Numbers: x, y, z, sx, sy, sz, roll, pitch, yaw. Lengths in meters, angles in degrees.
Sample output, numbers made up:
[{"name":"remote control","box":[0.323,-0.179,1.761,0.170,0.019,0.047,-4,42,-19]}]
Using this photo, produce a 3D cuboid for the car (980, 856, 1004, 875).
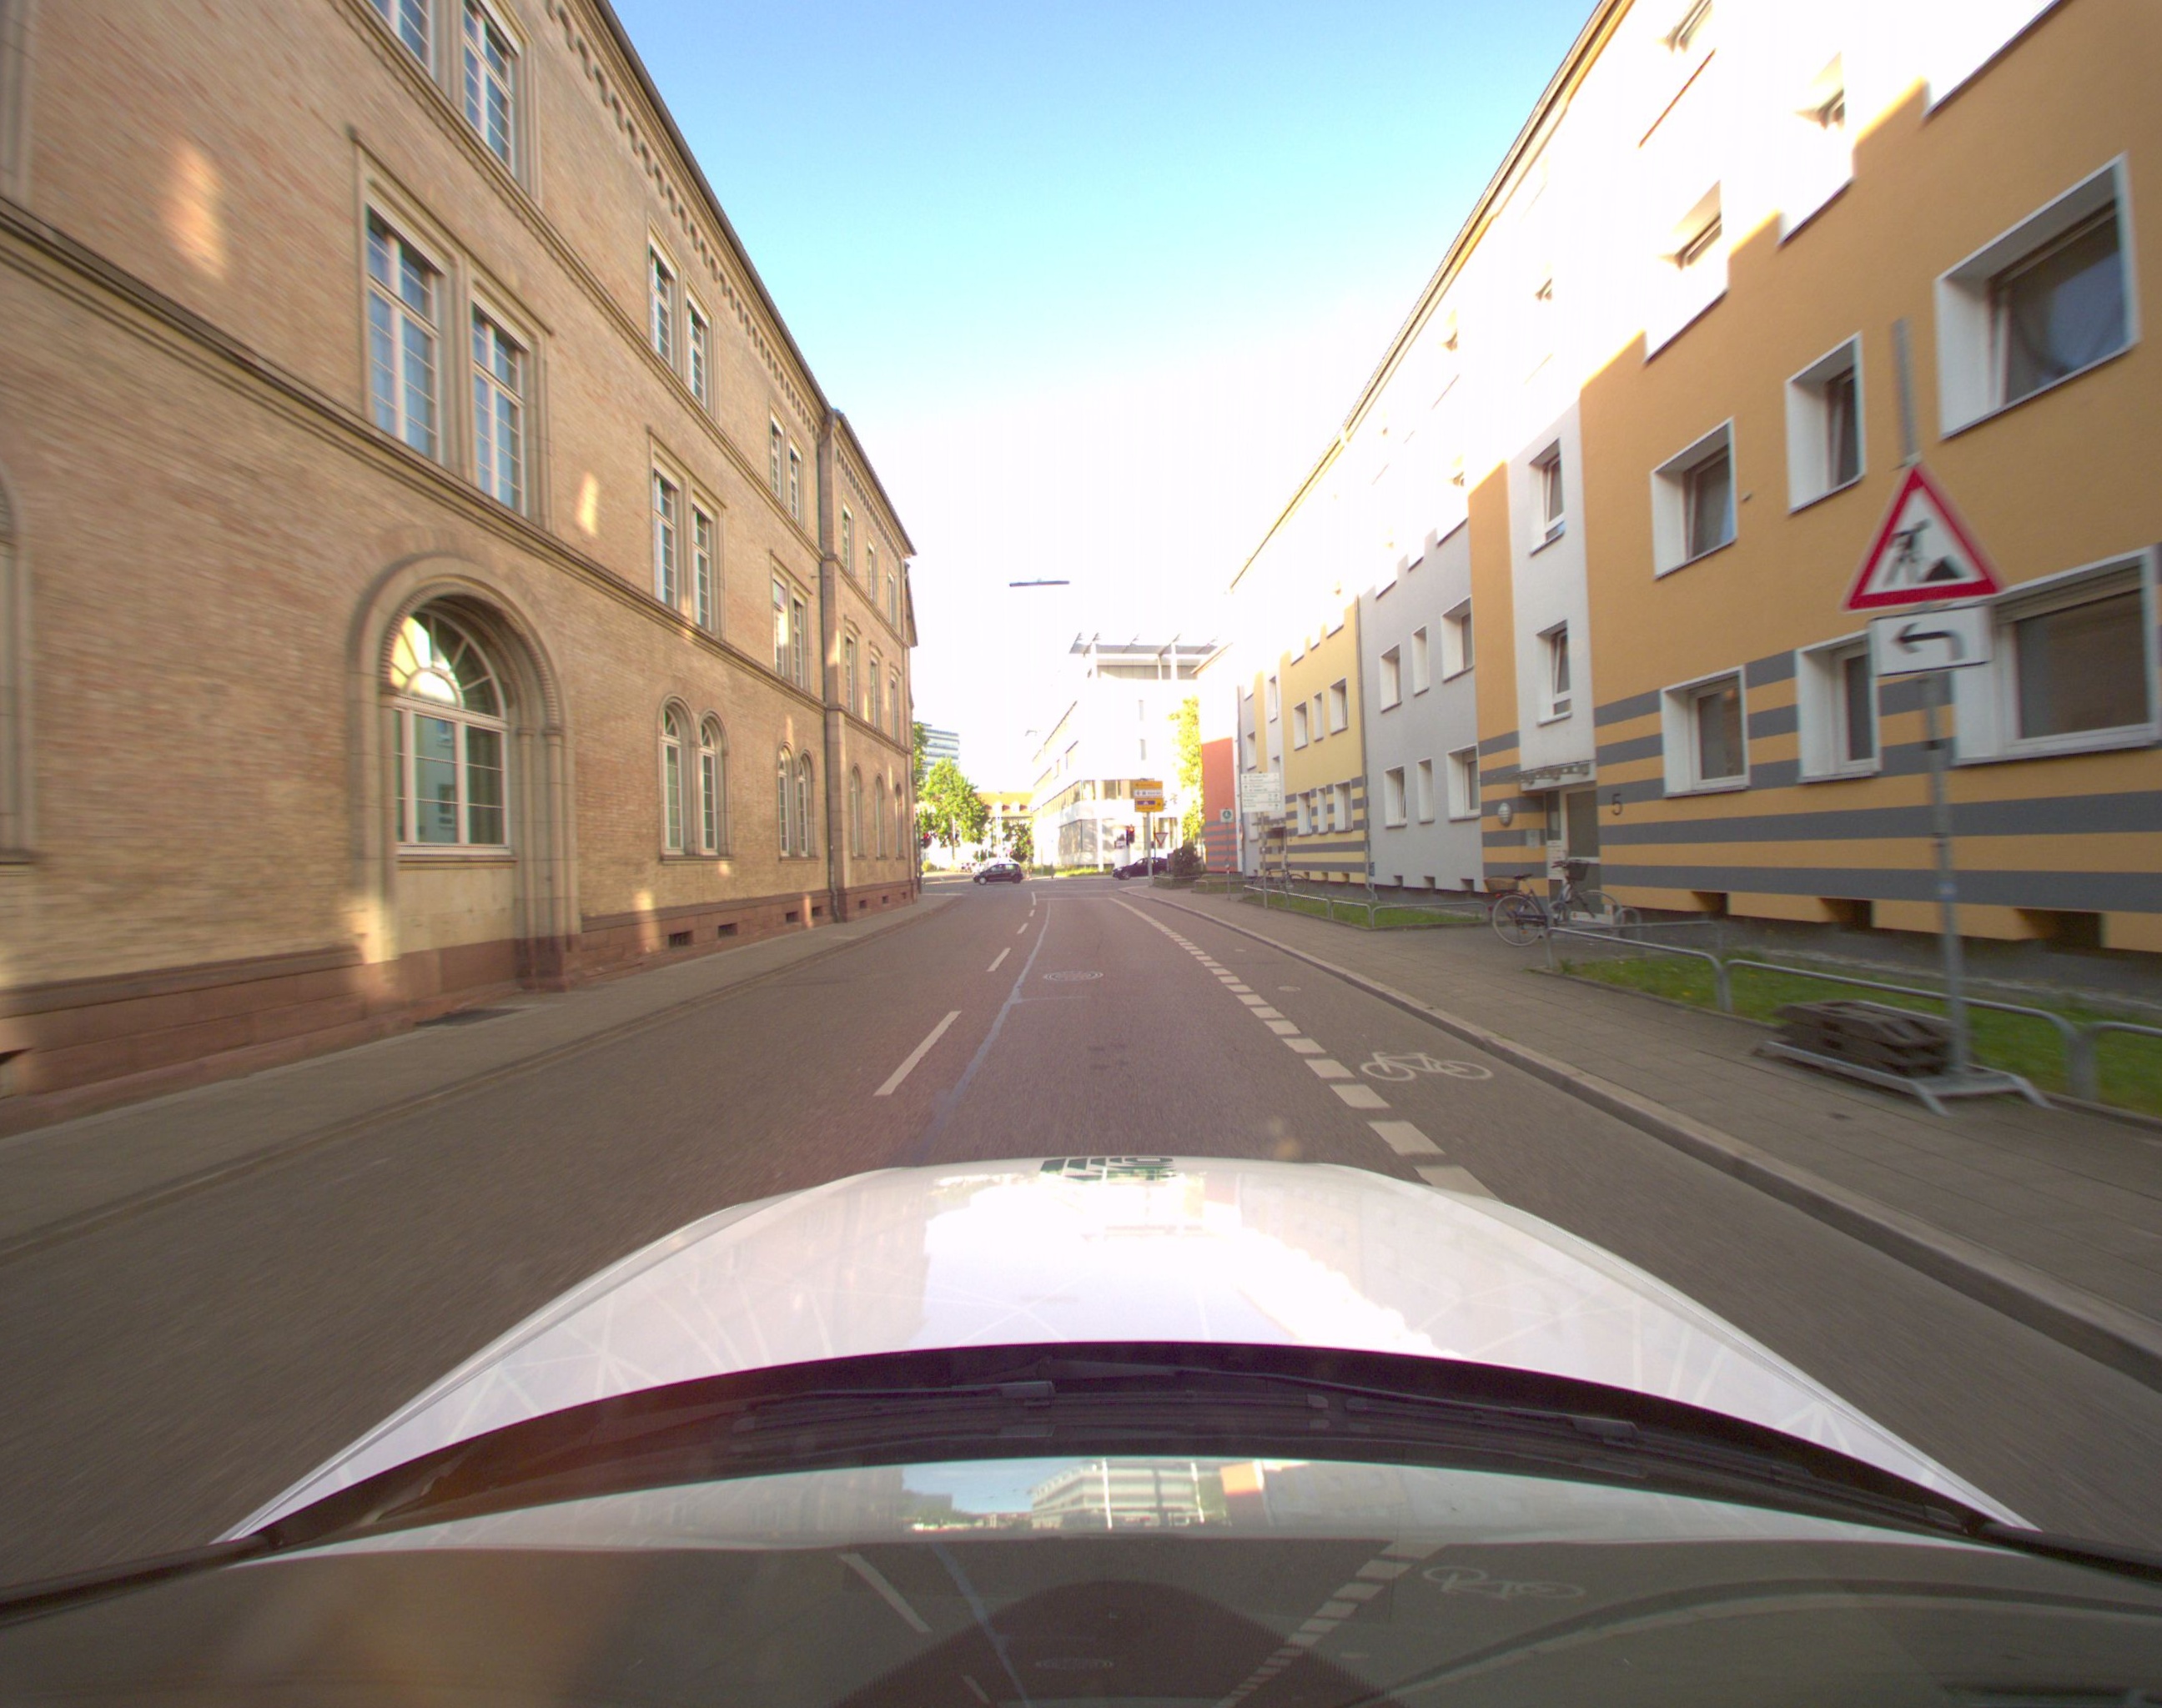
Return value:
[{"name":"car","box":[-10.363,1.345,94.330,2.425,2.112,5.212,0,-1,-10]}]

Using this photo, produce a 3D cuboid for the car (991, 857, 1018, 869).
[{"name":"car","box":[-12.382,1.407,132.255,4.002,1.915,1.906,0,-1,-22]}]

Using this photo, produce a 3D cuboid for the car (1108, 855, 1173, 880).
[{"name":"car","box":[4.335,0.966,59.848,4.367,1.633,1.993,-2,0,-10]}]

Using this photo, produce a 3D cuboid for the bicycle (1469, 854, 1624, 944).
[{"name":"bicycle","box":[6.443,0.617,11.316,1.804,1.137,0.552,-2,-1,0]}]

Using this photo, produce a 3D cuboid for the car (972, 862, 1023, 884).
[{"name":"car","box":[-5.948,1.353,58.013,3.431,1.446,1.767,-2,-1,-12]}]

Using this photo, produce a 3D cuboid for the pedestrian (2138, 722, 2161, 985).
[{"name":"pedestrian","box":[3.780,0.434,2.000,0.694,1.760,1.189,-5,-1,2]}]

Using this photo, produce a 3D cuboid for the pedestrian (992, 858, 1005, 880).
[{"name":"pedestrian","box":[-6.810,1.222,67.198,0.927,1.759,0.844,0,-1,-12]}]

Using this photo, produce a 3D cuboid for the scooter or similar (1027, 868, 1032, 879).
[{"name":"scooter or similar","box":[-4.790,1.824,75.966,0.325,1.059,1.138,-2,0,-10]}]

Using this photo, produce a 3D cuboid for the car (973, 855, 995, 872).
[{"name":"car","box":[-12.624,1.272,106.073,2.332,2.112,4.984,0,-1,-13]}]

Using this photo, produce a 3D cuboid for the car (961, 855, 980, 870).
[{"name":"car","box":[-15.677,1.210,115.164,2.332,2.112,4.984,0,-1,-13]}]

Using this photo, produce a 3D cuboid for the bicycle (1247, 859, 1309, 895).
[{"name":"bicycle","box":[6.147,0.712,25.443,1.750,1.004,0.612,-3,-1,-4]}]

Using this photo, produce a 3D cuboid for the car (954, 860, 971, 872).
[{"name":"car","box":[-18.193,1.829,124.954,2.332,1.733,4.984,0,-1,-13]}]
